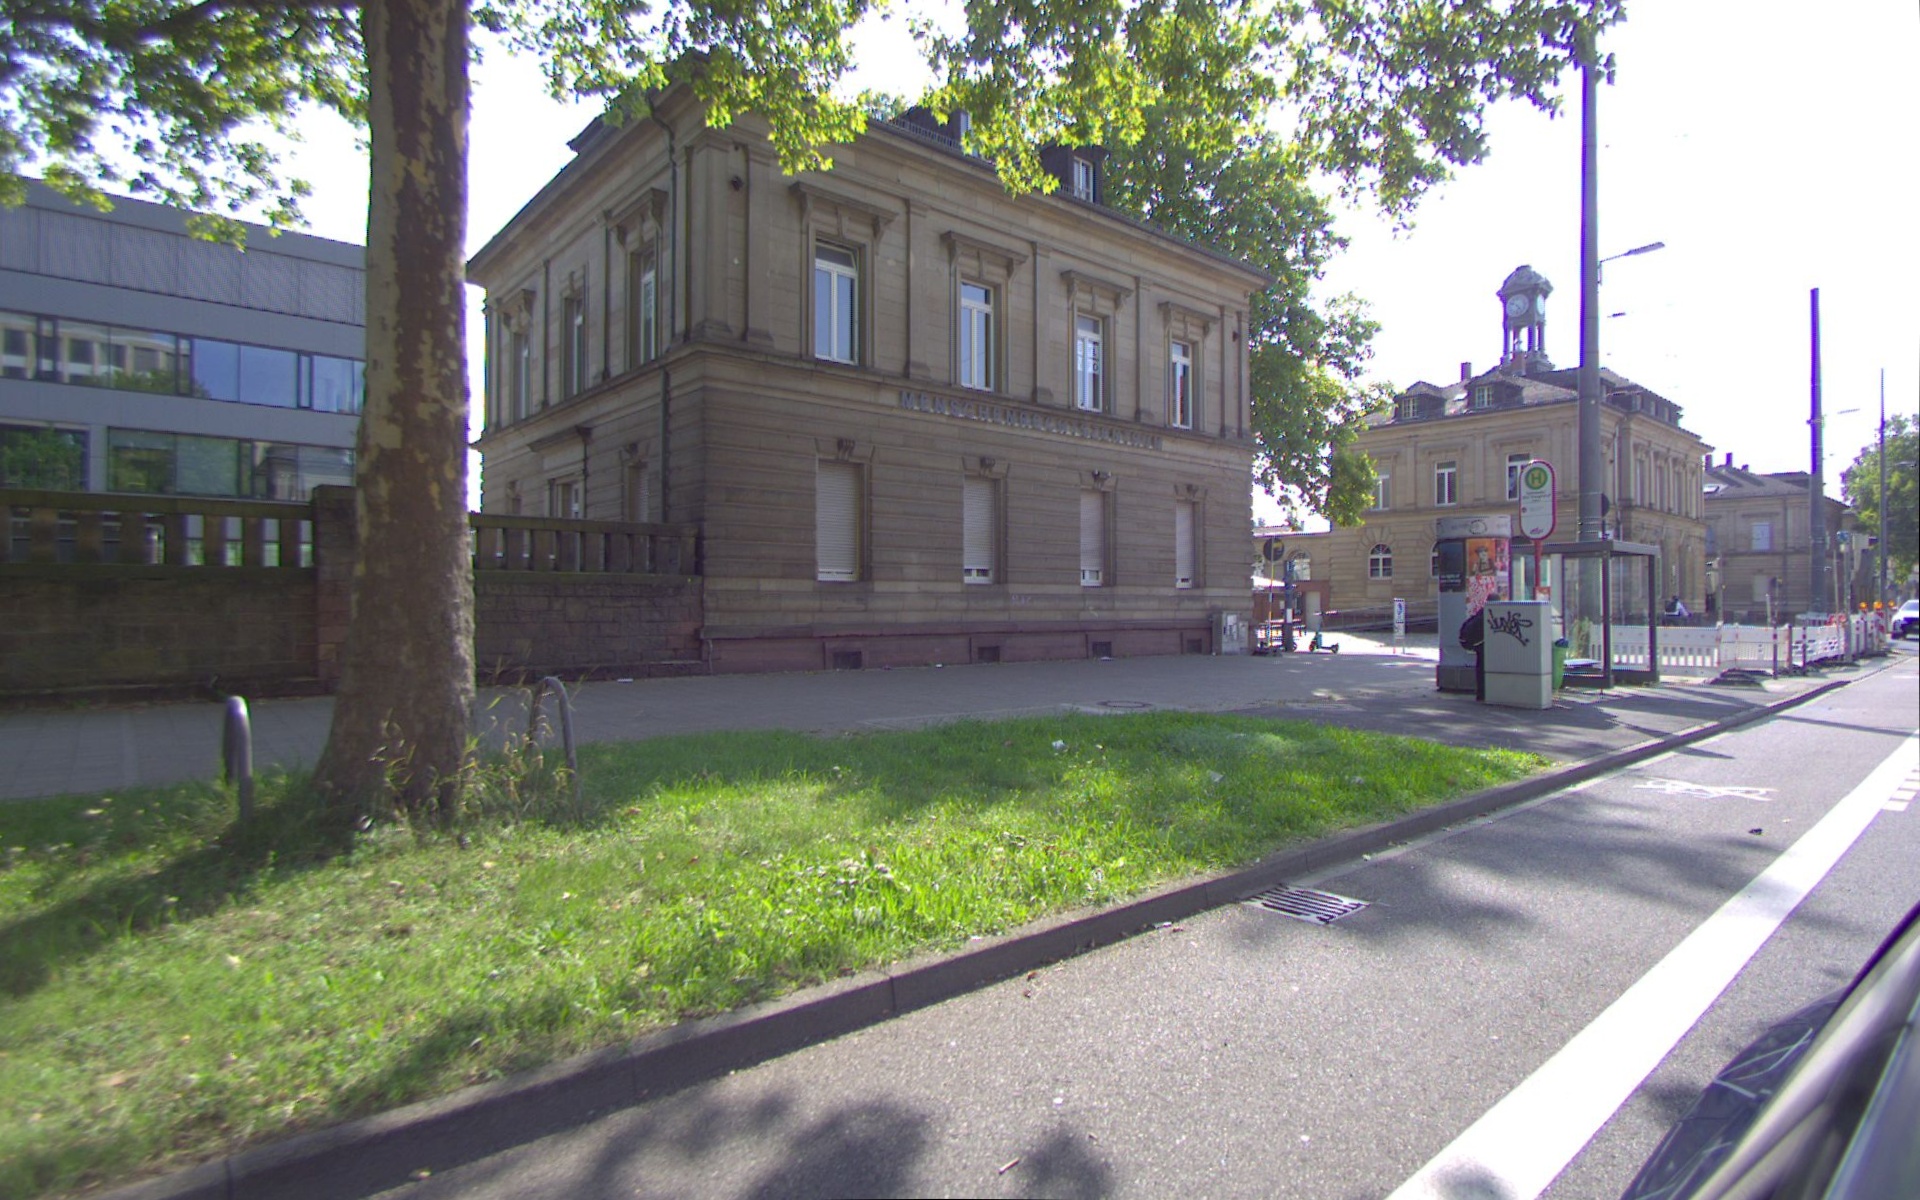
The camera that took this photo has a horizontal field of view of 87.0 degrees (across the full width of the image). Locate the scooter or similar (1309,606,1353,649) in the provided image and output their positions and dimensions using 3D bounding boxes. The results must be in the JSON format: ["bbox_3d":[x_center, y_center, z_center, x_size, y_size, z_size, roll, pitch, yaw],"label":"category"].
[{"bbox_3d":[11.155,0.820,30.419,1.228,1.225,0.423,2,-1,-18],"label":"scooter or similar"}]

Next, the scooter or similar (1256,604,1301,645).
[{"bbox_3d":[9.837,0.756,31.257,1.242,1.225,0.419,2,-1,25],"label":"scooter or similar"}]

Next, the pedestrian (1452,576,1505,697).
[{"bbox_3d":[7.598,0.510,14.827,0.683,1.718,0.642,0,-1,29],"label":"pedestrian"}]

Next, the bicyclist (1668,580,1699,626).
[{"bbox_3d":[24.871,0.116,34.795,0.939,1.563,0.718,1,-1,-43],"label":"bicyclist"}]

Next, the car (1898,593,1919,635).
[{"bbox_3d":[41.206,0.604,42.865,1.992,1.717,5.147,0,-1,41],"label":"car"}]

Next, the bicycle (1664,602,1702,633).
[{"bbox_3d":[24.840,0.600,34.760,1.871,1.055,0.718,1,-1,-43],"label":"bicycle"}]
